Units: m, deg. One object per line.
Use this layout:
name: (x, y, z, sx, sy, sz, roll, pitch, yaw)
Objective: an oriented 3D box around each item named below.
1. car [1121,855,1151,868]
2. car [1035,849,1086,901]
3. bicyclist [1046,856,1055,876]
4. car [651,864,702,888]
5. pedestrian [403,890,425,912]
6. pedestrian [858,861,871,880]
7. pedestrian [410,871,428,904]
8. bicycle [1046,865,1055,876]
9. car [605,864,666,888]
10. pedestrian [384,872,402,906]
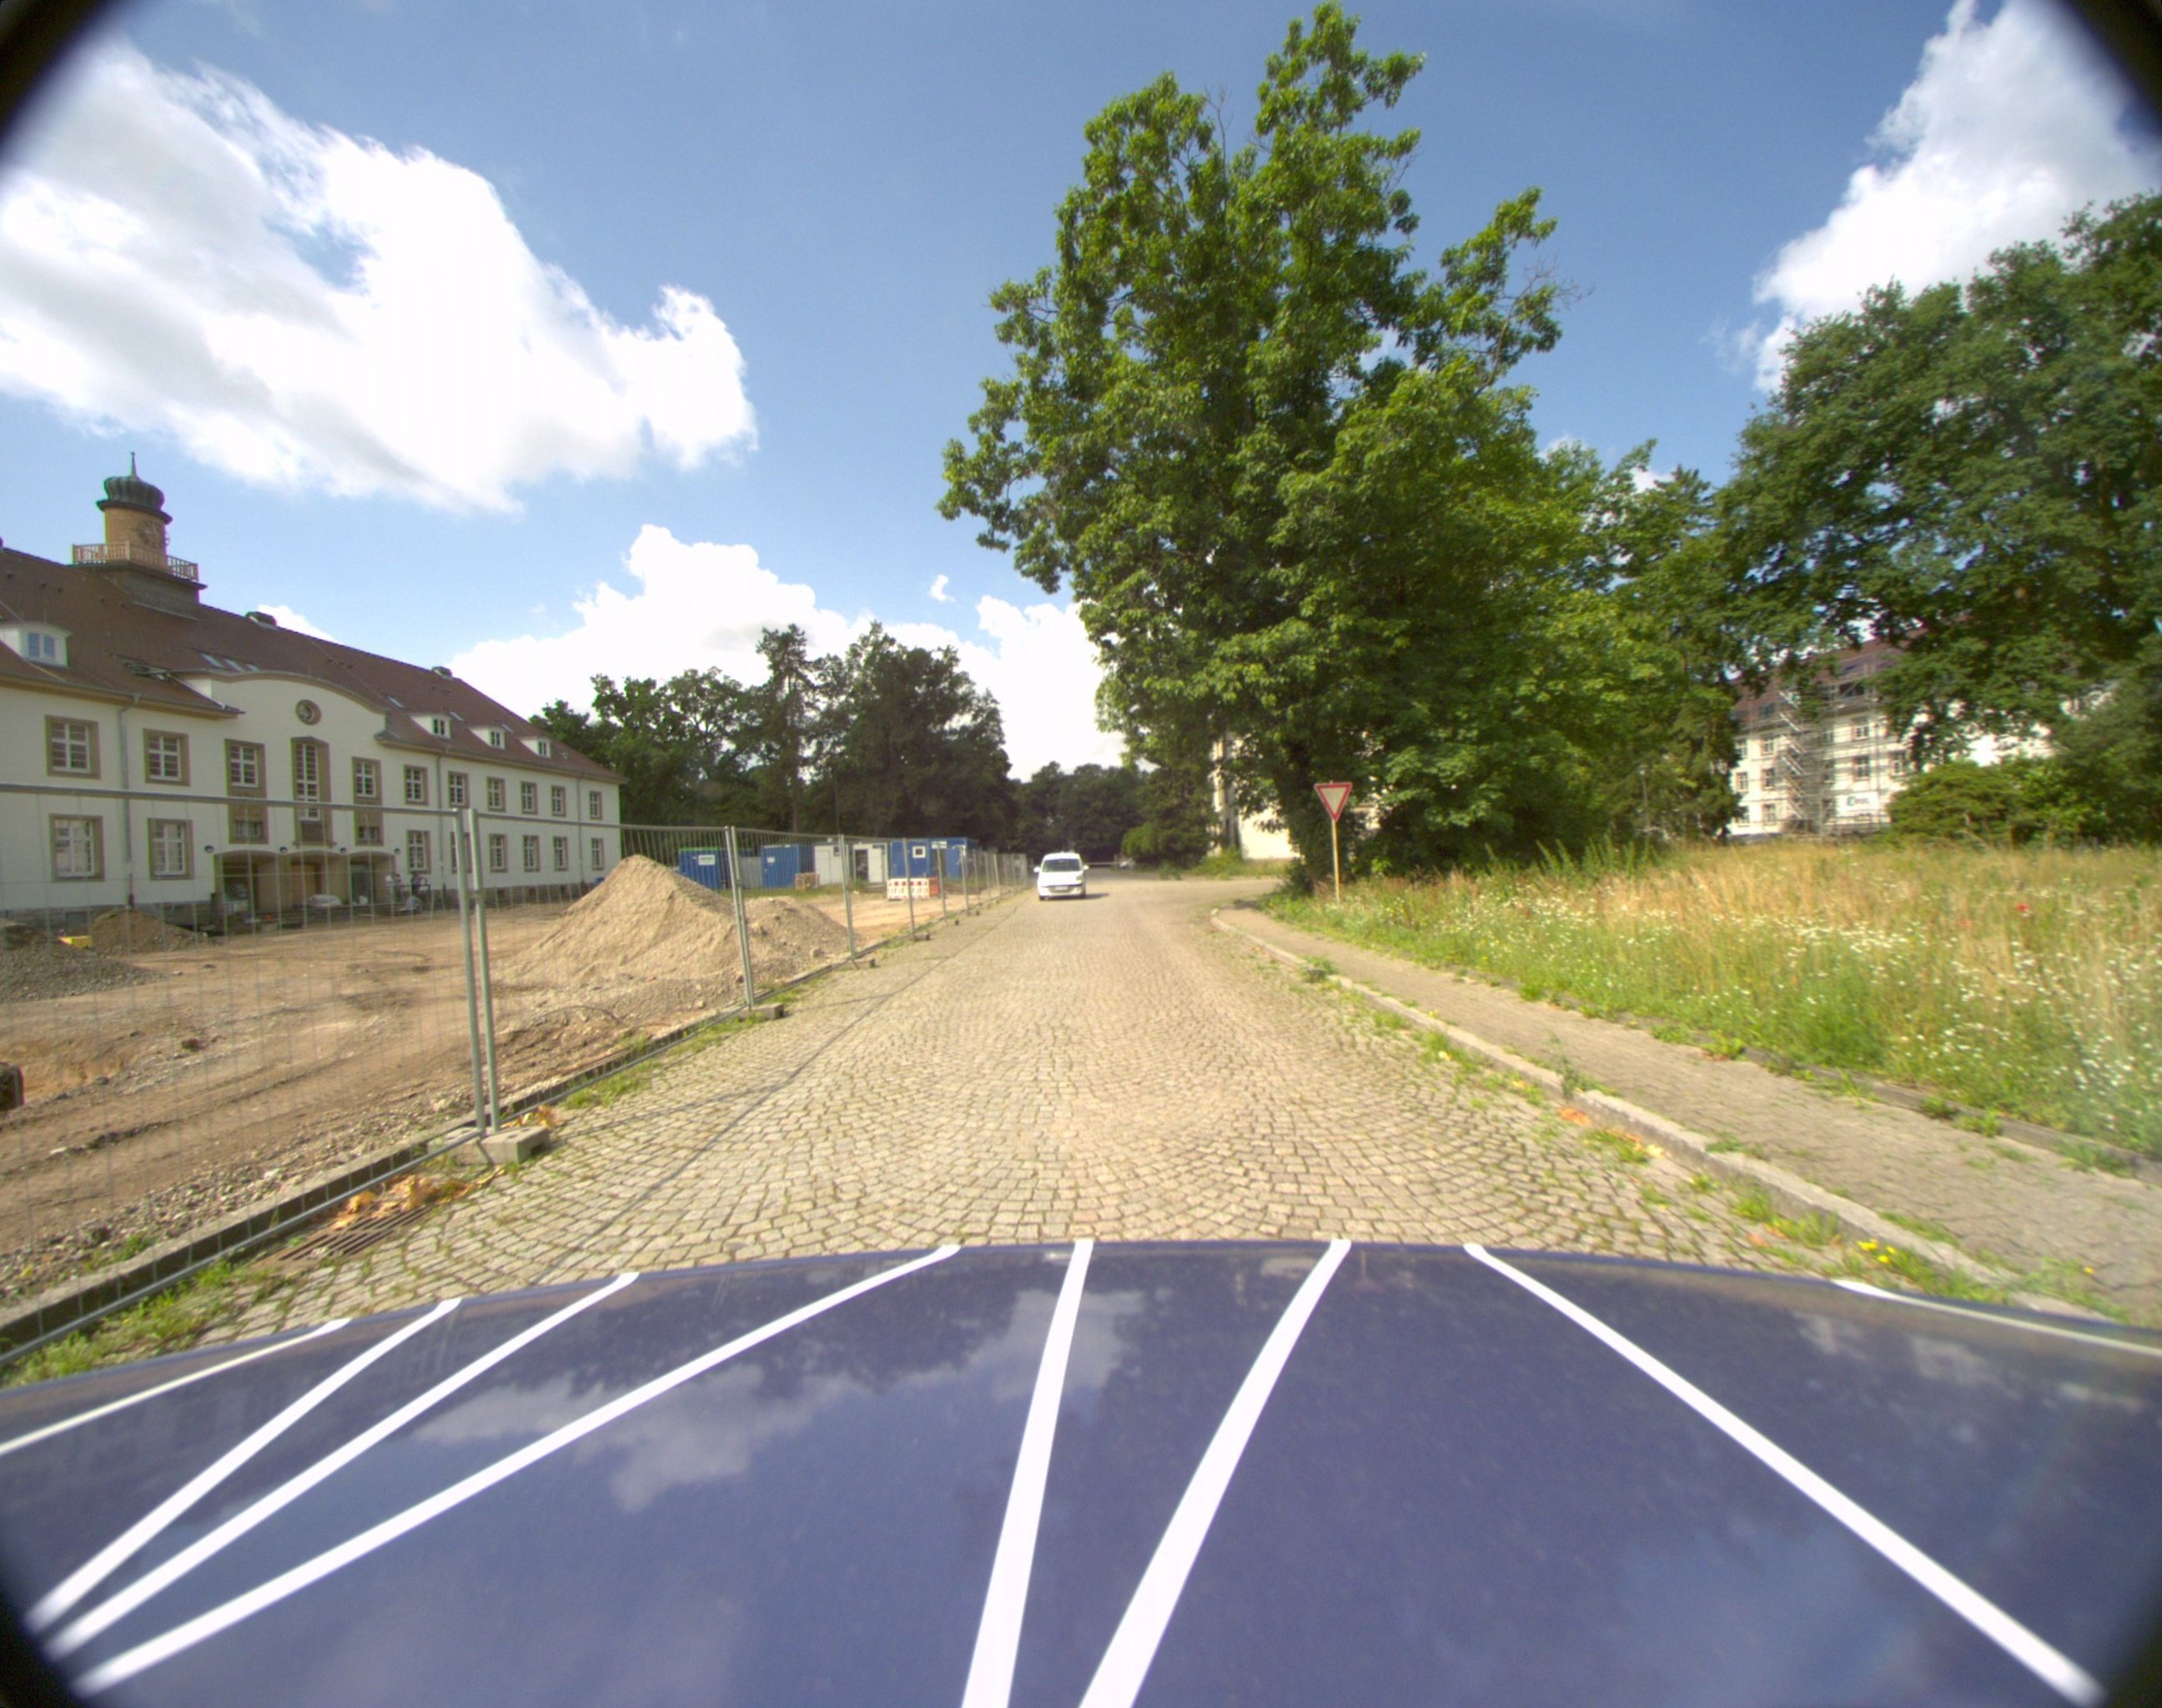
car: (7.852, 1.083, 107.910, 4.084, 1.634, 1.767, -2, 0, 0)
car: (-0.852, 0.782, 30.419, 1.839, 1.858, 4.829, -2, 0, -2)
bicyclist: (-2.799, 1.115, 69.833, 0.635, 1.760, 0.571, -3, 0, -7)
car: (-31.983, 1.700, 60.210, 1.802, 1.673, 4.040, -2, 0, 1)
pedestrian: (-35.349, 2.488, 40.272, 0.491, 1.108, 0.709, -2, 0, -1)
pedestrian: (-13.922, 1.059, 48.833, 0.602, 1.235, 0.682, -2, 0, -1)
pedestrian: (-36.638, 1.862, 42.053, 0.491, 1.777, 0.506, -2, 0, -3)
bicycle: (-2.782, 1.489, 69.830, 0.635, 0.990, 1.556, -3, 0, -7)
car: (-35.157, 1.713, 60.125, 1.884, 1.718, 4.708, -2, 0, 1)
pedestrian: (-36.747, 1.868, 40.596, 0.490, 1.777, 0.507, -2, 0, 23)
